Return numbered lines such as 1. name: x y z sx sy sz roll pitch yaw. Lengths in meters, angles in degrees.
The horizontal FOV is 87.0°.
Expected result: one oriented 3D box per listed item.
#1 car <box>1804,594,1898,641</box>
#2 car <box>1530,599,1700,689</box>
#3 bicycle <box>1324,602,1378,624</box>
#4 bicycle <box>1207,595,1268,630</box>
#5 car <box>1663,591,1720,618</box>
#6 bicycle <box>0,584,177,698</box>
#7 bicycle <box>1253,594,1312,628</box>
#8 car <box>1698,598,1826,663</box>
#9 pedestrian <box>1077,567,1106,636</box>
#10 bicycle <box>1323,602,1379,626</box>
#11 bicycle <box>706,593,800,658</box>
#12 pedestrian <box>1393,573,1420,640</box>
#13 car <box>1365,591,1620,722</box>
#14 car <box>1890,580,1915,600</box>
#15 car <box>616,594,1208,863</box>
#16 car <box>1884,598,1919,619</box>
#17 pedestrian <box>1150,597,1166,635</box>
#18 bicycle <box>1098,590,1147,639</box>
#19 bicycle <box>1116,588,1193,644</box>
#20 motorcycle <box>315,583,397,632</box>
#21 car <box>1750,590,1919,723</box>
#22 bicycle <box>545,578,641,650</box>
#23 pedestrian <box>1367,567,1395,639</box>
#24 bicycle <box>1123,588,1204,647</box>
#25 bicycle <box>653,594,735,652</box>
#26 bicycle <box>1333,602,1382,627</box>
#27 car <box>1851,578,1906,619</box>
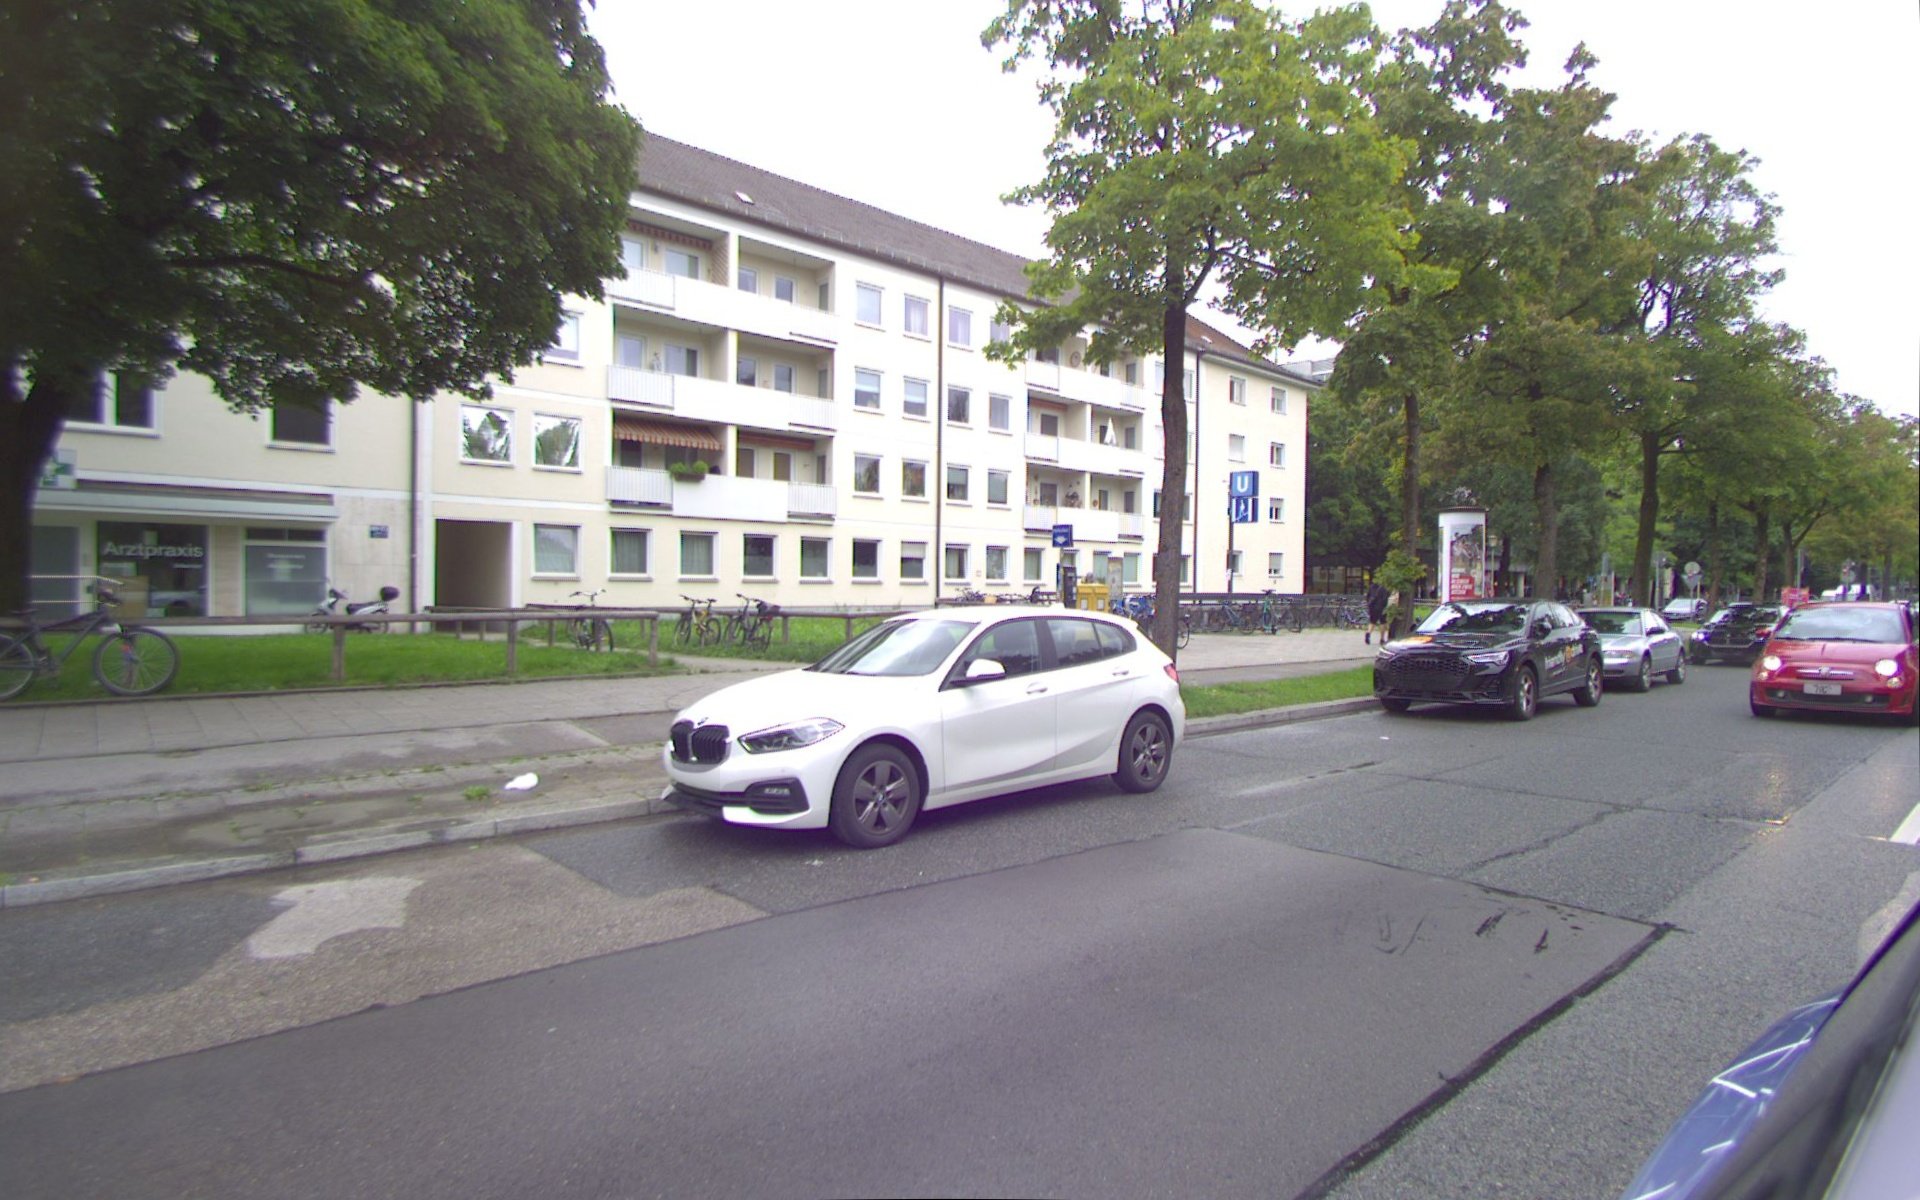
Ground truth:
1. car: 29.730 0.536 33.731 4.225 1.487 1.825 0 0 -41
2. car: 11.621 0.688 17.865 3.860 1.397 1.615 0 0 -43
3. bicycle: 12.662 0.415 32.817 0.490 0.704 1.595 0 0 -45
4. bicycle: 7.729 0.338 28.248 0.490 0.927 1.595 0 1 -45
5. car: 42.686 0.252 59.029 4.225 1.487 1.825 0 0 -41
6. bicycle: -8.857 0.378 10.003 1.738 1.068 0.470 -1 0 -42
7. bicycle: 9.471 0.312 29.754 0.490 0.927 1.595 0 2 -45
8. car: 19.508 0.673 24.547 4.227 1.397 1.824 0 1 -43
9. pedestrian: 3.277 0.037 25.181 0.555 1.694 0.515 1 0 29
10. bicycle: 12.402 0.441 32.127 0.490 0.645 1.596 0 4 -45
11. bicycle: -3.753 0.429 18.259 0.653 1.081 2.027 0 1 -45
12. pedestrian: 11.033 0.154 24.994 0.555 1.625 0.515 1 0 29
13. car: 7.441 0.654 13.985 4.086 1.530 1.824 0 0 -42
14. car: 122.580 -1.297 131.585 4.915 2.485 1.996 0 1 -43
15. car: -0.158 0.700 7.559 4.213 1.455 1.824 0 -1 -41
16. car: 68.536 0.584 73.354 4.225 1.487 1.825 0 0 -41
17. pedestrian: 4.973 0.404 25.377 0.333 0.932 0.393 1 0 21
18. bicycle: 3.834 0.324 23.839 1.231 1.130 0.466 0 0 -41
19. bicycle: 4.373 0.336 22.683 2.039 1.203 0.545 0 1 -41
20. motorcycle: -14.369 0.164 24.096 1.593 1.134 0.606 0 1 -41
21. car: 12.076 0.631 13.544 4.227 1.519 1.720 0 0 -43
22. bicycle: -5.870 0.195 16.126 0.653 1.081 2.027 0 1 -45
23. pedestrian: 10.569 0.075 25.402 0.555 1.778 0.651 1 0 29
24. bicycle: 4.329 0.347 21.432 2.039 1.203 0.545 0 1 -41
25. bicycle: -5.283 0.424 20.020 0.653 1.081 2.027 0 1 -45
26. bicycle: 13.035 0.481 33.235 0.491 0.722 1.389 0 3 -45
27. car: 58.158 -0.113 64.037 4.912 2.485 1.997 -1 0 -41
